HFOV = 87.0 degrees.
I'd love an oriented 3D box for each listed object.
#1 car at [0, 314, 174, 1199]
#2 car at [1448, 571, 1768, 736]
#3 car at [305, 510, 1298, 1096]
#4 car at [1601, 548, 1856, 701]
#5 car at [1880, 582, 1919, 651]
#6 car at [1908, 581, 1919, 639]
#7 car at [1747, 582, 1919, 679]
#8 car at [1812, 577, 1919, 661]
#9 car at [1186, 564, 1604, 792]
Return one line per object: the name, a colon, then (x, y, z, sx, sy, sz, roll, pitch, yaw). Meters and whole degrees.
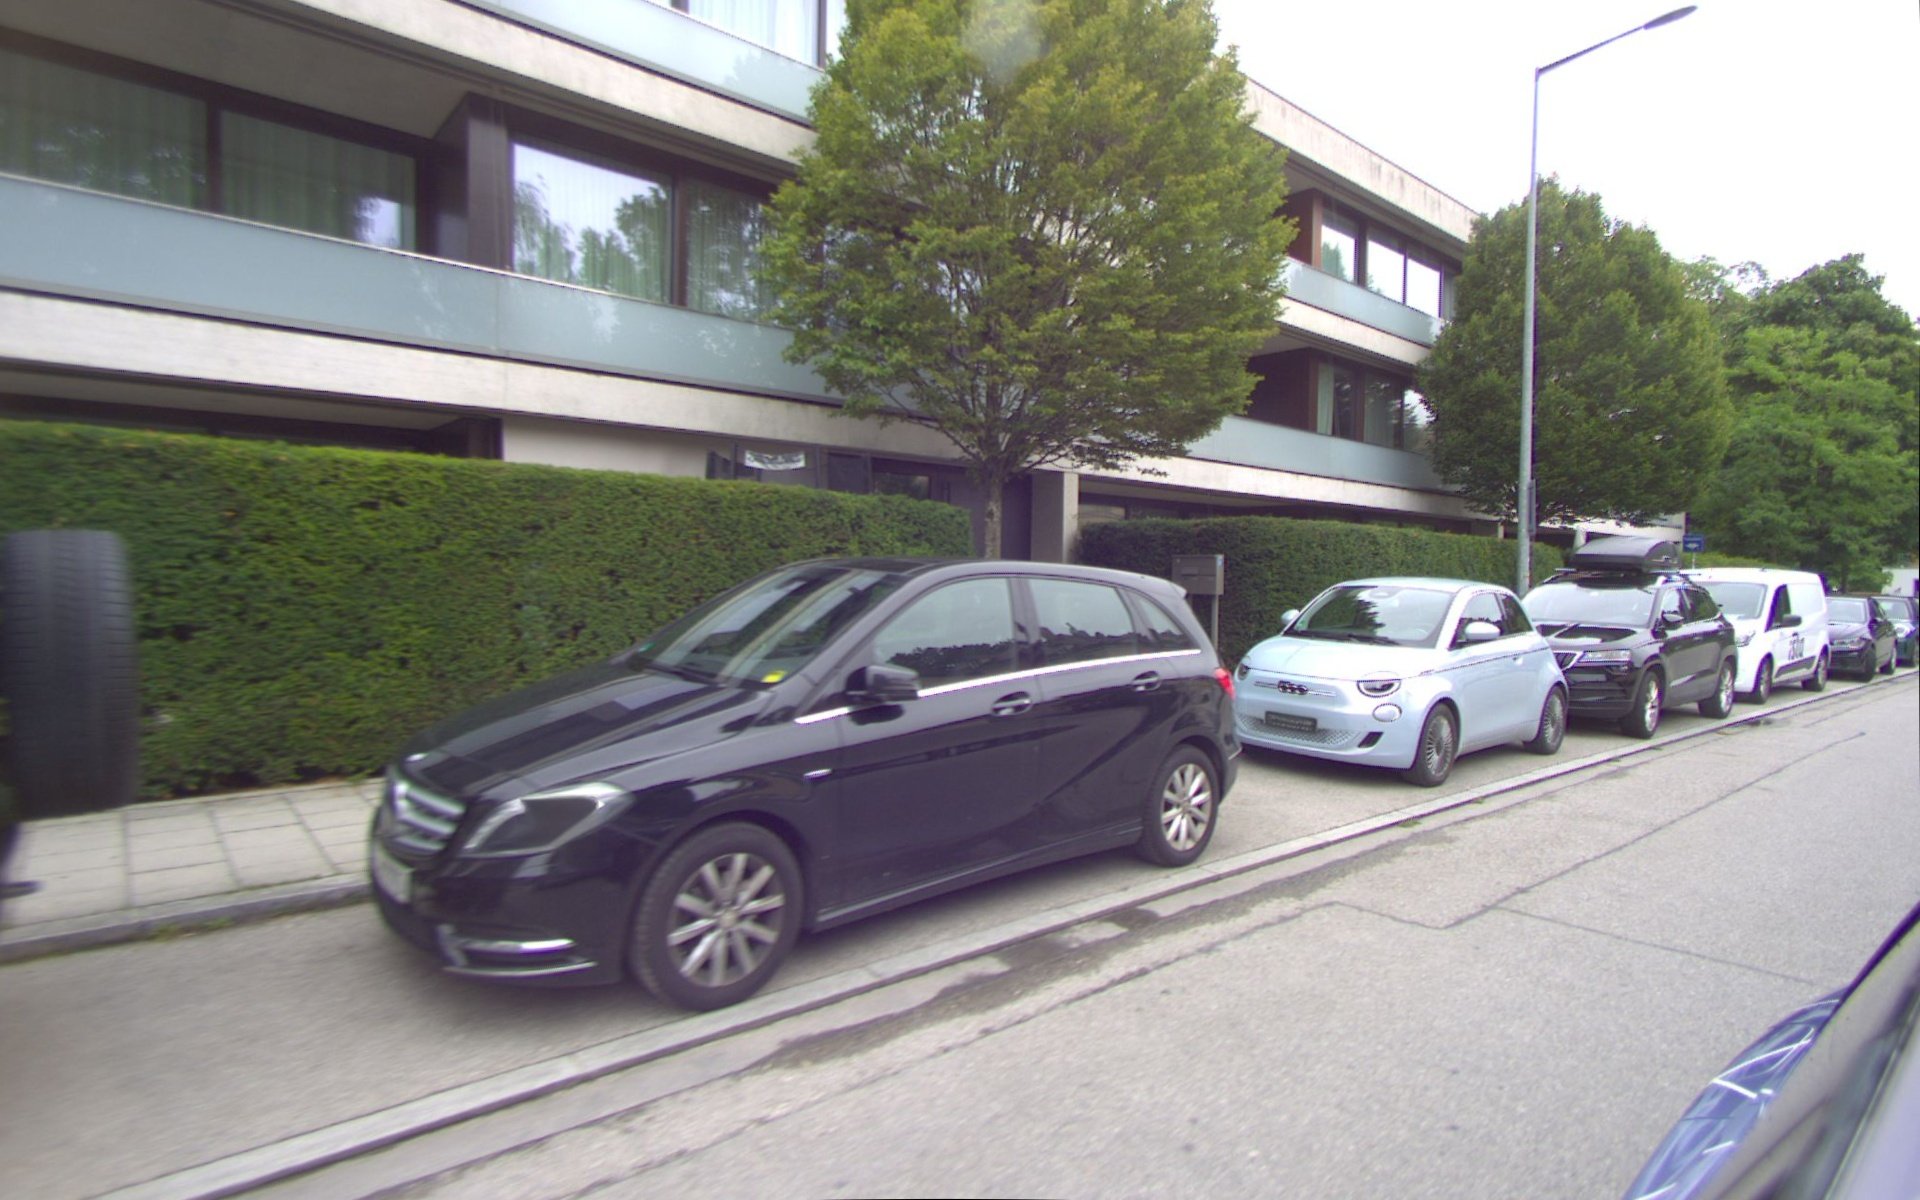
car: (-4.280, 0.373, 1.341, 4.992, 1.894, 1.991, -1, 2, -42)
car: (7.423, 0.484, 11.399, 4.516, 1.499, 1.751, 0, 1, -40)
car: (-0.343, 0.506, 4.858, 4.491, 1.558, 1.750, 0, 2, -42)
car: (11.262, 0.299, 14.702, 4.808, 1.884, 1.827, 0, 0, -38)
car: (24.043, 0.423, 24.922, 5.114, 1.524, 1.284, 1, 3, -40)
car: (28.661, 0.356, 28.909, 4.916, 1.588, 1.874, 1, 4, -43)
car: (15.832, 0.481, 18.227, 4.167, 1.482, 1.752, 0, 2, -40)
car: (19.825, 0.364, 21.631, 4.129, 1.547, 1.731, 0, 3, -40)
car: (3.828, 0.496, 8.636, 3.819, 1.499, 1.751, 0, 2, -40)
